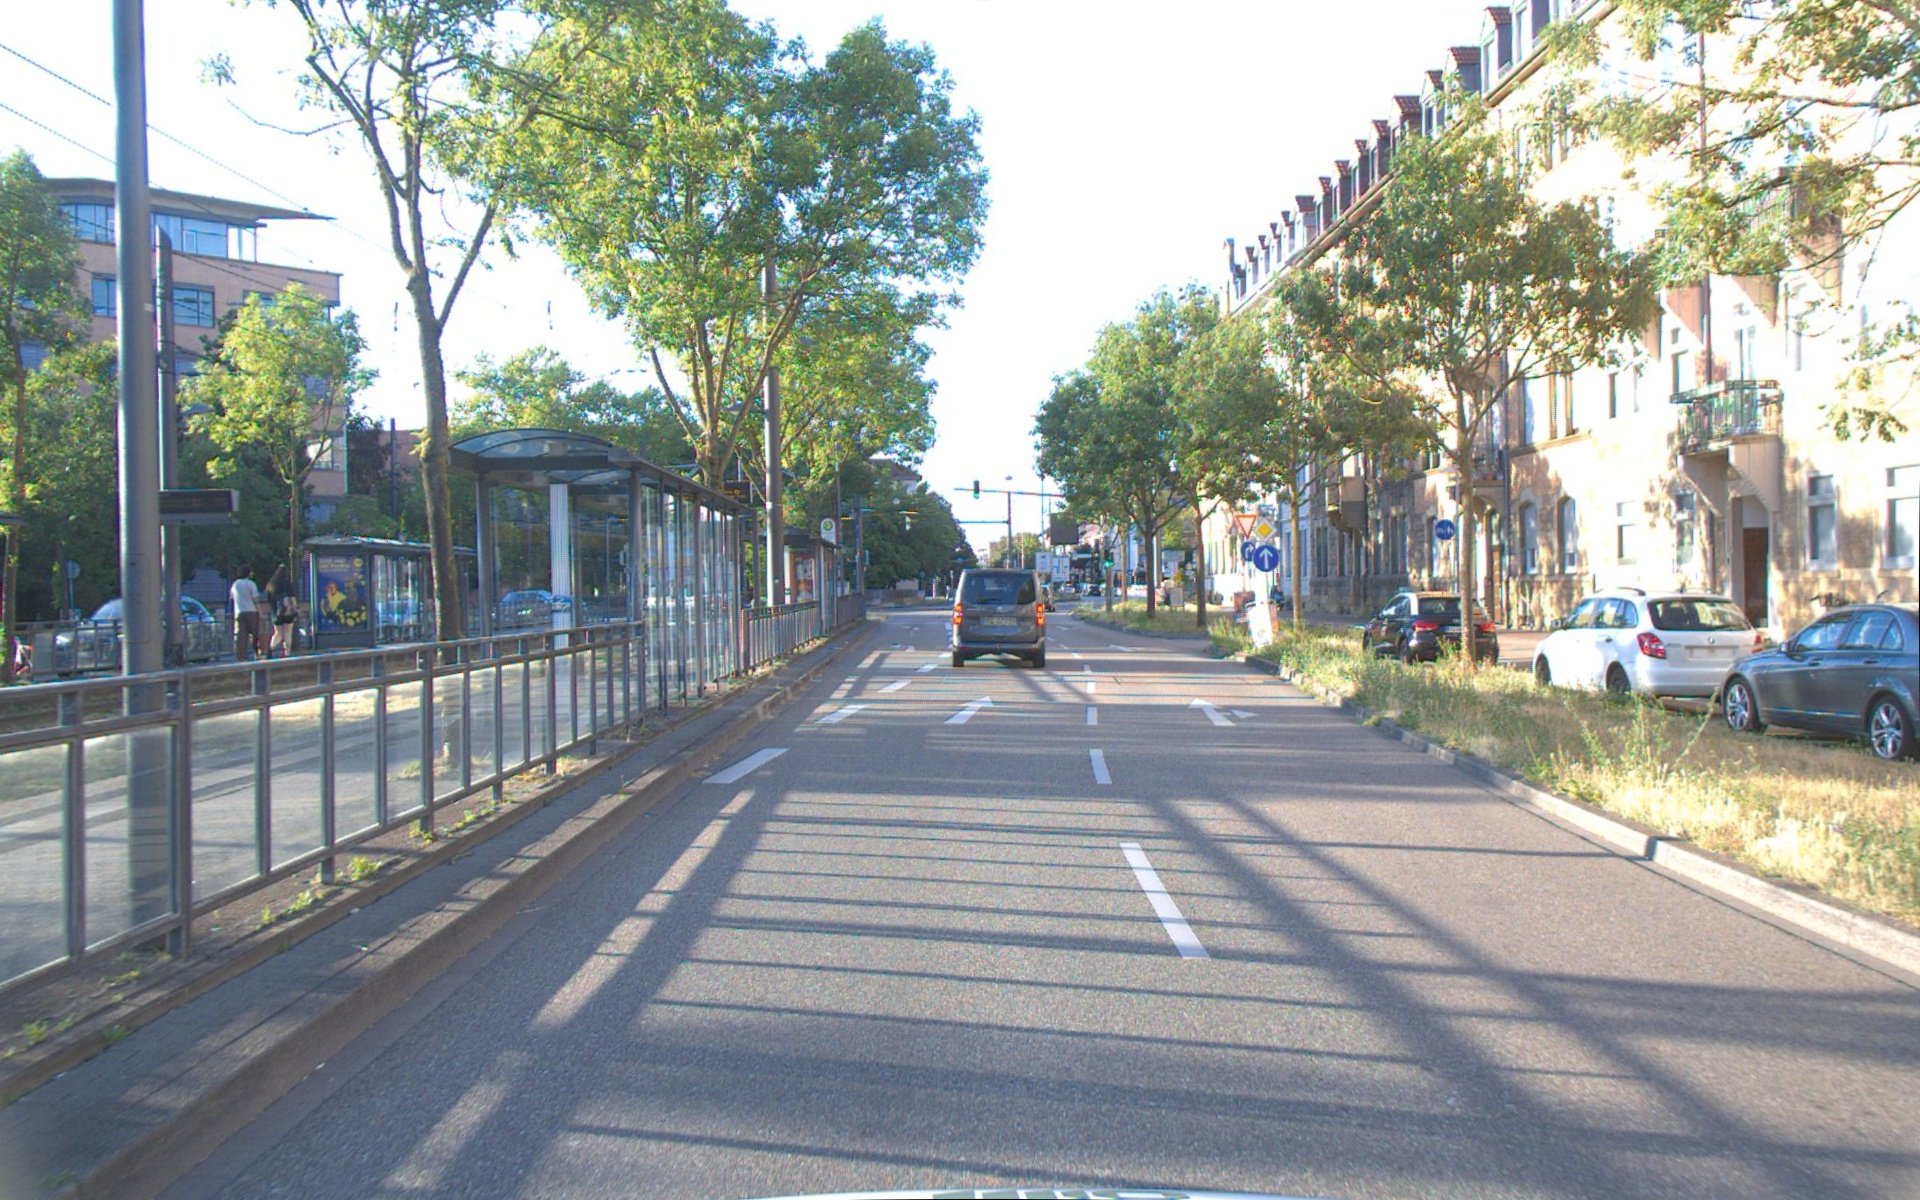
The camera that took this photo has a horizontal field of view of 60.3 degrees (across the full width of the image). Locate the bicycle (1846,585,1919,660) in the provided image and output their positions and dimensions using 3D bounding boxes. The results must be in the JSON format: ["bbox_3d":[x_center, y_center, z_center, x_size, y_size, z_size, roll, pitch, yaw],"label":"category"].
[{"bbox_3d":[15.932,0.368,28.291,0.473,1.185,1.746,-6,0,0],"label":"bicycle"}]

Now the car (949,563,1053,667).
[{"bbox_3d":[0.762,0.278,33.356,1.953,1.934,4.299,1,0,0],"label":"car"}]

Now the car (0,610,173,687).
[{"bbox_3d":[-17.008,0.902,31.993,1.659,1.320,4.000,-1,0,-1],"label":"car"}]

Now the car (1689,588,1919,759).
[{"bbox_3d":[9.169,0.643,16.056,1.906,1.470,4.907,1,0,-1],"label":"car"}]

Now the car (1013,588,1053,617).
[{"bbox_3d":[4.051,0.127,92.408,1.953,1.537,3.999,0,0,-1],"label":"car"}]

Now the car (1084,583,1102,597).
[{"bbox_3d":[16.857,-1.292,210.269,1.952,1.685,4.299,-1,0,1],"label":"car"}]

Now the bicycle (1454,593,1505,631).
[{"bbox_3d":[14.180,0.314,45.194,0.718,0.964,2.340,-2,0,2],"label":"bicycle"}]

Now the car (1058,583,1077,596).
[{"bbox_3d":[13.952,-1.328,214.886,1.954,1.685,4.296,-1,0,-3],"label":"car"}]

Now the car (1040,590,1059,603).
[{"bbox_3d":[11.633,-0.471,214.479,1.954,1.685,4.296,-1,0,-3],"label":"car"}]

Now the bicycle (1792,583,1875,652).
[{"bbox_3d":[15.927,0.304,30.195,0.473,1.185,1.746,-6,0,0],"label":"bicycle"}]

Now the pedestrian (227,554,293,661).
[{"bbox_3d":[-13.761,0.133,32.533,0.754,2.049,1.127,-1,0,1],"label":"pedestrian"}]

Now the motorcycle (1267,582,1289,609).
[{"bbox_3d":[14.777,-0.212,76.973,0.542,1.235,2.072,0,0,-2],"label":"motorcycle"}]

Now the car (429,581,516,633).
[{"bbox_3d":[-16.583,0.204,56.431,1.821,1.682,3.999,0,1,-1],"label":"car"}]

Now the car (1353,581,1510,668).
[{"bbox_3d":[8.745,0.404,31.045,1.669,1.474,4.288,2,0,0],"label":"car"}]

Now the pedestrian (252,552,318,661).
[{"bbox_3d":[-12.990,0.125,31.871,0.754,2.049,1.127,-1,0,1],"label":"pedestrian"}]

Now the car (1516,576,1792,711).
[{"bbox_3d":[8.882,0.496,21.582,1.691,1.538,4.271,2,0,-1],"label":"car"}]

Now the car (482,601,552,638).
[{"bbox_3d":[-17.848,0.770,66.796,1.758,1.440,4.340,0,0,-1],"label":"car"}]

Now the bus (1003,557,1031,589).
[{"bbox_3d":[8.607,-4.020,251.232,3.225,4.698,9.992,0,0,-4],"label":"bus"}]
